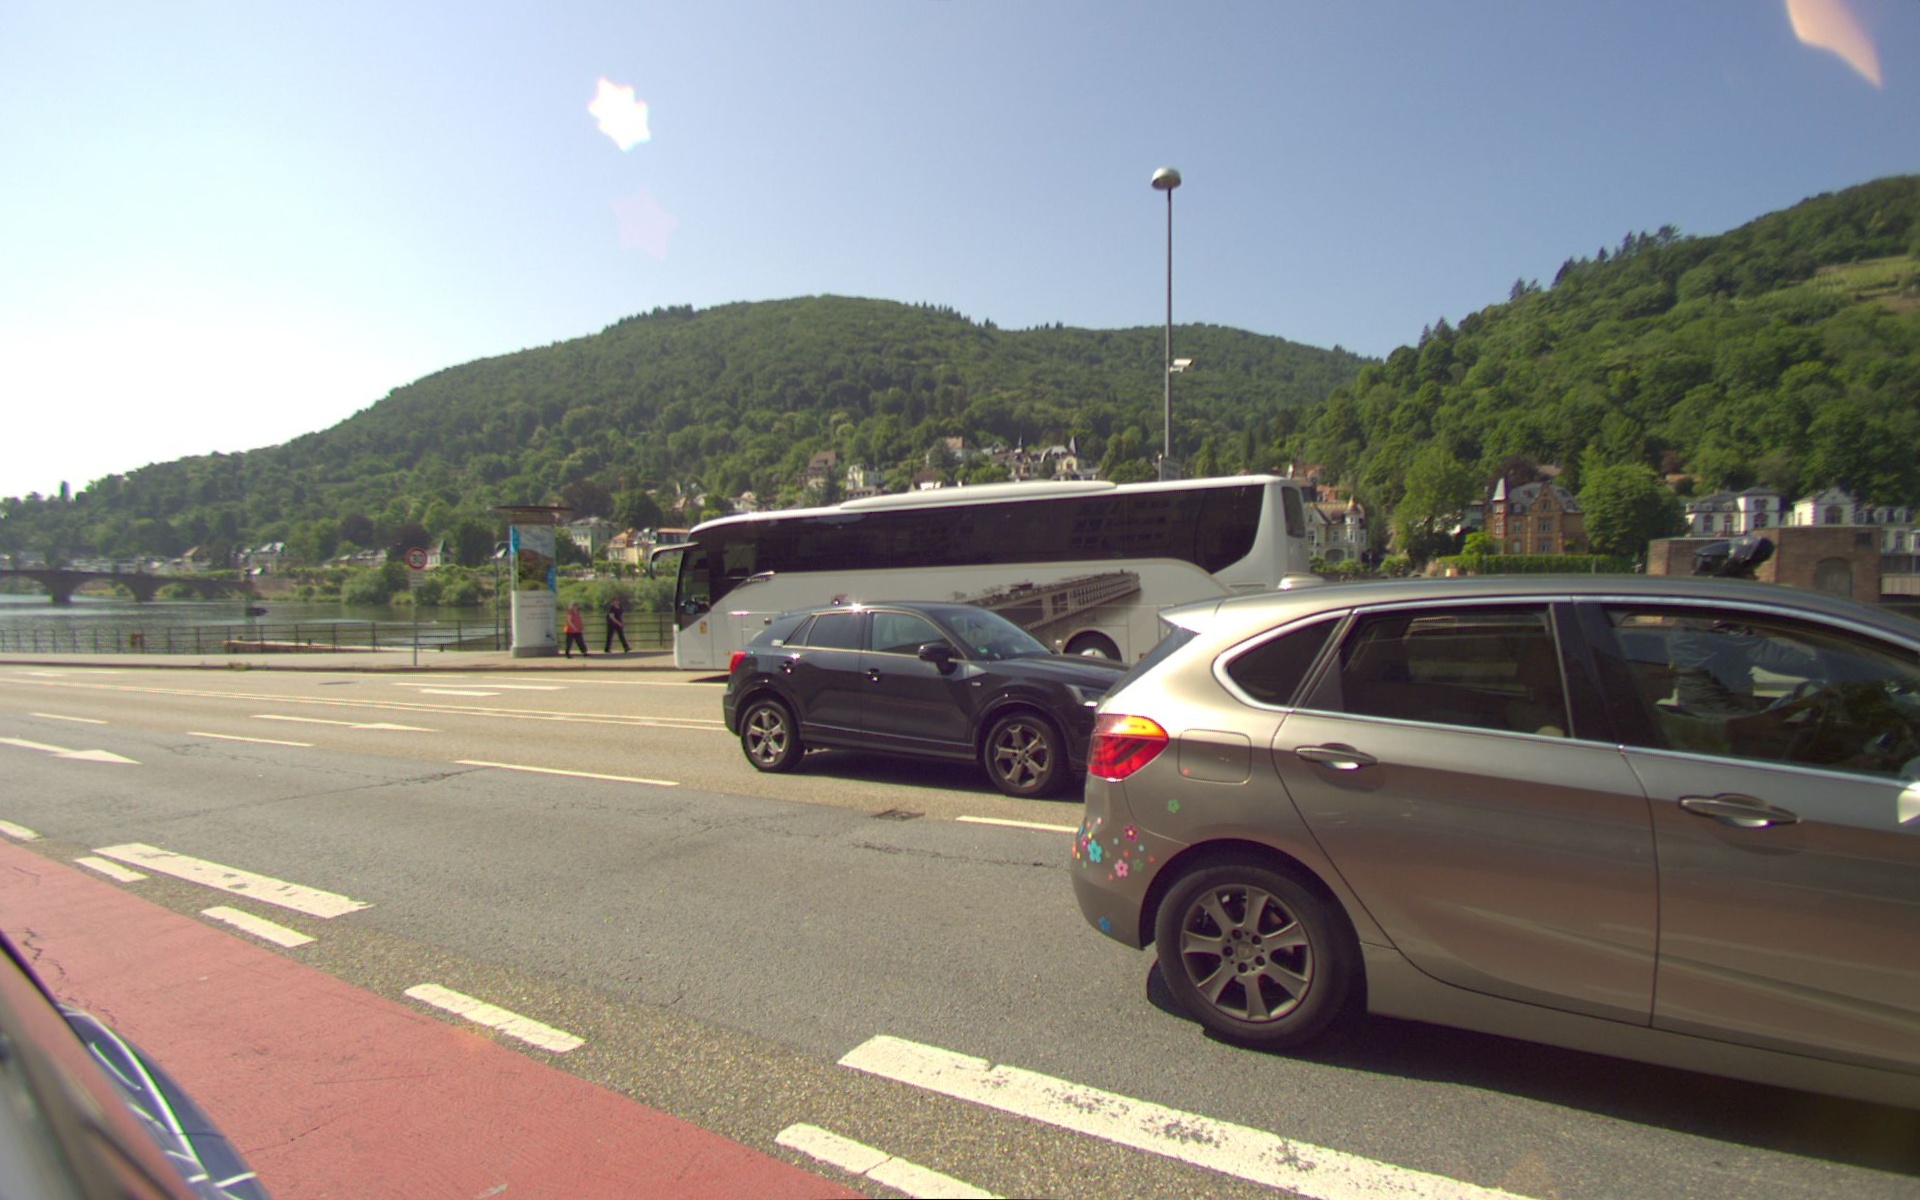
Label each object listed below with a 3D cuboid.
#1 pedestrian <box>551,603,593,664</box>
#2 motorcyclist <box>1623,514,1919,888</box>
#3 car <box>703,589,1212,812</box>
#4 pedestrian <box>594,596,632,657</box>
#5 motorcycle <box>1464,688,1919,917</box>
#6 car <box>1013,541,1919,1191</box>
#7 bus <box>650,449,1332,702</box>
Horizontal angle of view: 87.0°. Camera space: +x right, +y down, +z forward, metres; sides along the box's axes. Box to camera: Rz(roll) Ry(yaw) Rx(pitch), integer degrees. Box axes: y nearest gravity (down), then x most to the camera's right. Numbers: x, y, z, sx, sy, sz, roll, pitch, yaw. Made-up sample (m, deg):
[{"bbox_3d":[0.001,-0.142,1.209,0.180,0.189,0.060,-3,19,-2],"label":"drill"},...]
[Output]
[{"bbox_3d":[-10.540,0.897,27.507,0.811,1.633,0.699,-1,0,22],"label":"pedestrian"},{"bbox_3d":[4.216,0.470,5.314,1.152,1.697,1.067,-2,-1,32],"label":"motorcyclist"},{"bbox_3d":[-0.102,0.708,8.899,4.138,1.525,1.855,-1,1,32],"label":"car"},{"bbox_3d":[-9.968,0.763,29.089,0.766,1.722,0.681,-1,0,16],"label":"pedestrian"},{"bbox_3d":[4.162,0.995,5.343,2.596,0.926,1.030,-2,-1,32],"label":"motorcycle"},{"bbox_3d":[2.500,0.628,3.348,4.291,1.532,1.874,-1,0,32],"label":"car"},{"bbox_3d":[0.027,-0.291,19.656,13.179,3.828,2.939,-2,2,28],"label":"bus"}]
